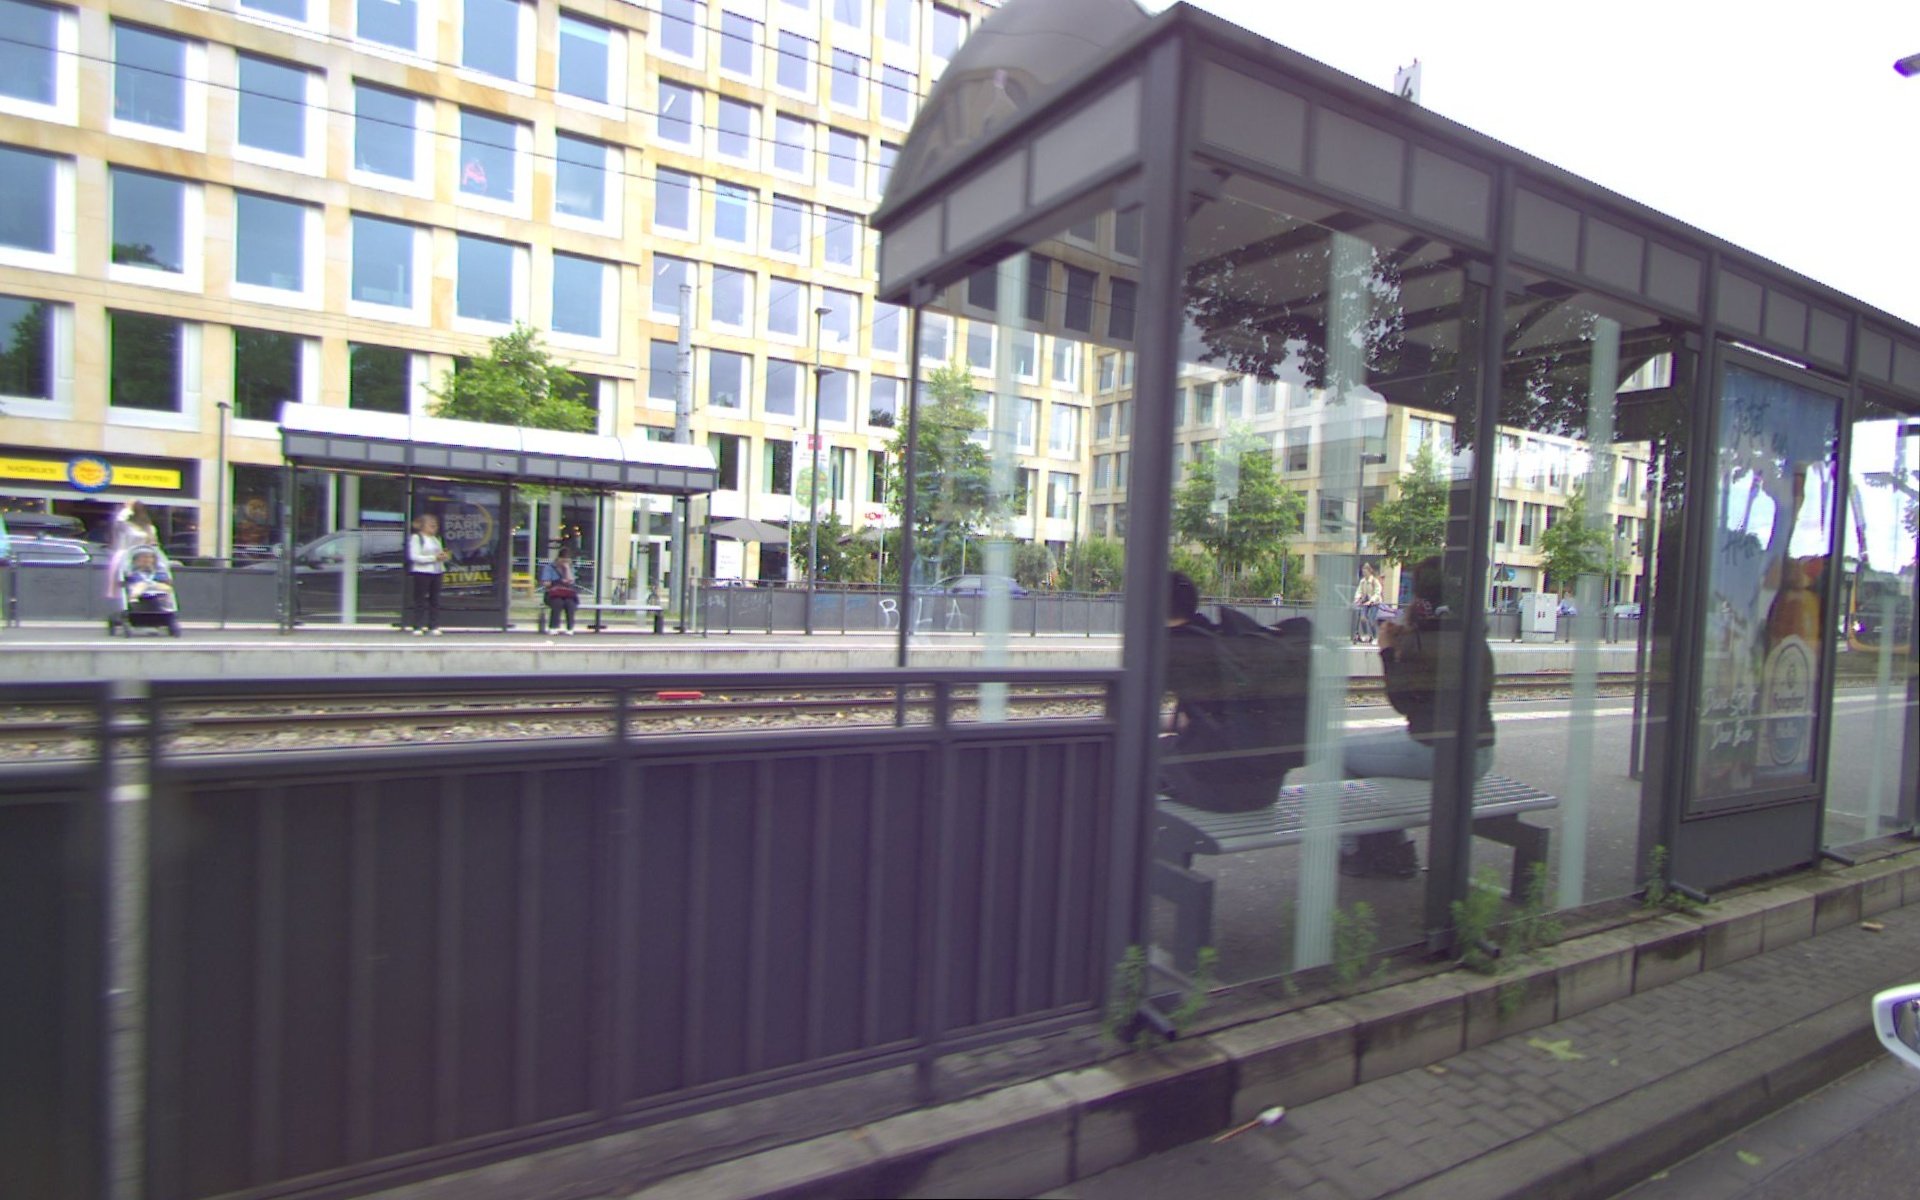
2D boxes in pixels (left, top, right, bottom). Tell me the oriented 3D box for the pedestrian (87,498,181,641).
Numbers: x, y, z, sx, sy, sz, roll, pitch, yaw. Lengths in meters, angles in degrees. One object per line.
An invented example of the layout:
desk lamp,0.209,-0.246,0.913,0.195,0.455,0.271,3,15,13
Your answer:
pedestrian,-9.793,-0.357,11.914,0.568,1.628,0.656,3,1,27

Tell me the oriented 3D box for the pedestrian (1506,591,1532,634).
pedestrian,26.707,0.597,47.974,0.717,2.040,0.709,2,1,-31

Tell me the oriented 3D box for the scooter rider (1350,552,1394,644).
scooter rider,9.271,-0.044,22.602,0.674,2.036,0.513,2,1,-31

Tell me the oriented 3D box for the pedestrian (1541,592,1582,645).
pedestrian,24.119,0.739,40.280,1.021,2.040,0.928,2,1,-31

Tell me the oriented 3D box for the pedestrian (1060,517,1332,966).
pedestrian,0.791,0.430,3.442,0.593,1.359,0.607,2,1,-30

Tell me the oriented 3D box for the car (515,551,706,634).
car,-8.202,-0.162,23.583,3.951,1.684,1.985,3,1,-28

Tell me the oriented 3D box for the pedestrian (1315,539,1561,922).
pedestrian,1.909,0.475,4.045,0.593,1.391,0.607,2,1,-30

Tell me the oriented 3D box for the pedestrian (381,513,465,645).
pedestrian,-7.369,-0.279,13.829,0.927,1.708,1.034,2,1,-27

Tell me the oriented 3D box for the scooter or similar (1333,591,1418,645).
scooter or similar,9.419,0.417,22.714,2.201,1.129,0.520,3,1,-31

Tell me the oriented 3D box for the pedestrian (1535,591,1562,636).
pedestrian,27.641,0.629,47.180,0.717,2.040,0.709,2,1,-31

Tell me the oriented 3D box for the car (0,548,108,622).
car,-17.840,-0.338,17.682,3.951,1.243,1.889,3,1,-28

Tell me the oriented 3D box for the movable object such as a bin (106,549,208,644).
movable object such as a bin,-9.303,-0.040,11.647,0.610,1.035,0.722,3,1,27

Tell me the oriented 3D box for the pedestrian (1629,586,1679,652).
pedestrian,19.902,0.537,28.801,1.147,1.819,0.707,2,1,-31

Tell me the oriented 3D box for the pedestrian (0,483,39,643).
pedestrian,-10.083,-0.392,10.441,0.557,1.628,0.534,2,1,-23

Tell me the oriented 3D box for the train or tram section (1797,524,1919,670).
train or tram section,30.137,0.094,30.687,11.178,3.913,3.222,3,1,-30

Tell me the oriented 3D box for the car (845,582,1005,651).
car,-0.971,0.468,27.897,3.951,1.684,1.985,3,1,-28

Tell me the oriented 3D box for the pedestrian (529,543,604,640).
pedestrian,-5.964,-0.127,15.196,0.927,1.390,1.034,2,1,-27

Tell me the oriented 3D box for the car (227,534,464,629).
car,-12.461,-0.353,20.685,3.951,1.684,1.985,3,1,-28
